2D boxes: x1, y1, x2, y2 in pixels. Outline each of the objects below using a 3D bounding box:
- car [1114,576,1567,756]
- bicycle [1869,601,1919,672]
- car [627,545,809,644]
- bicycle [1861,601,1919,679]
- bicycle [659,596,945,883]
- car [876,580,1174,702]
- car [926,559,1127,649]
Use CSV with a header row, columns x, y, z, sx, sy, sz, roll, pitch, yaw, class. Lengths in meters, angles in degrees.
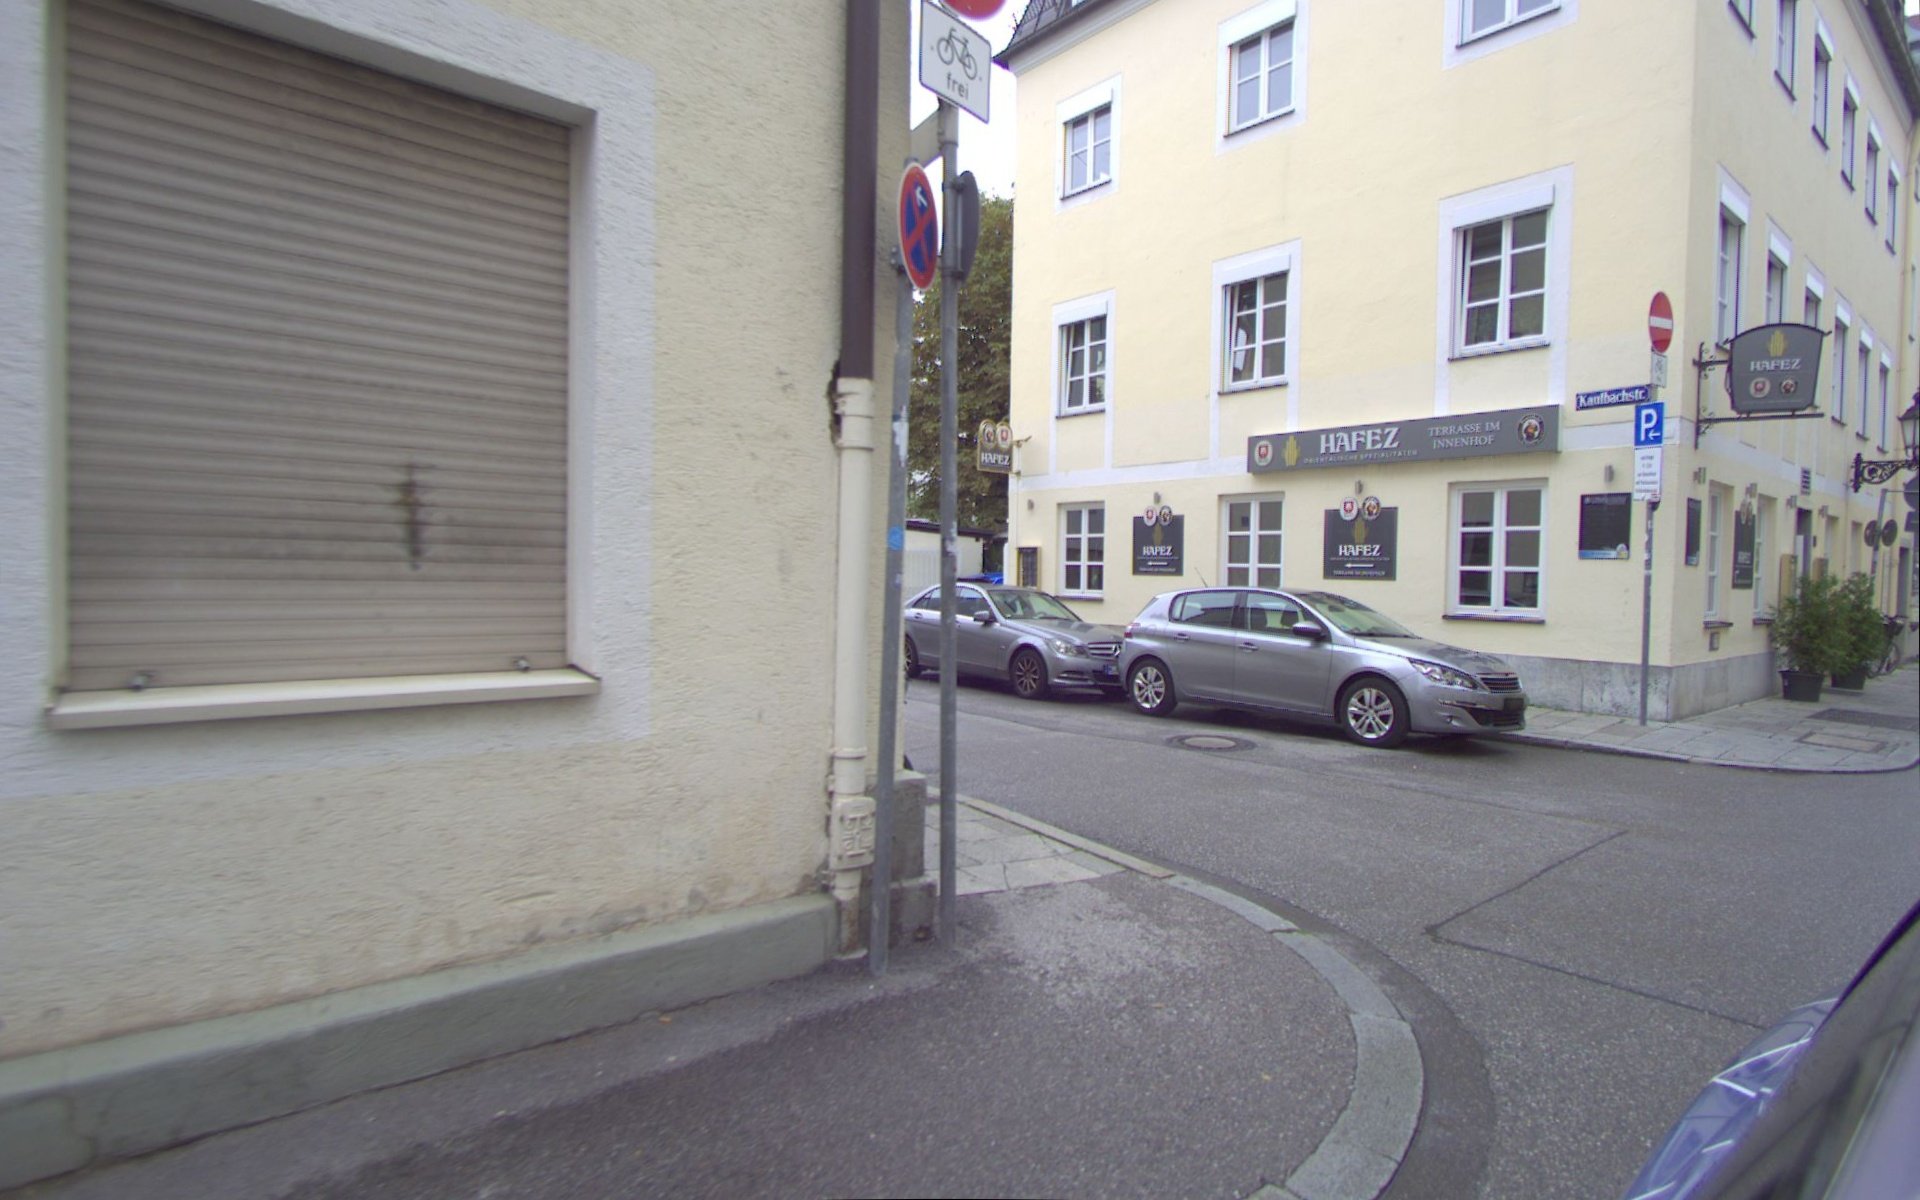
x,y,z,sx,sy,sz,roll,pitch,yaw,class
3.668,0.532,10.384,1.732,1.459,4.026,3,-1,-38,car
16.580,0.609,17.776,1.952,1.150,0.567,0,3,-40,bicycle
-5.343,-0.118,21.888,2.053,1.869,4.718,3,-1,-37,car
15.076,0.613,16.267,1.654,1.150,0.567,0,3,-40,bicycle
-0.880,0.606,5.192,0.575,1.158,1.761,3,0,-39,bicycle
0.738,0.473,13.954,1.732,1.405,4.197,3,-1,-38,car
1.412,0.049,20.654,3.929,1.671,1.807,0,1,-40,car
